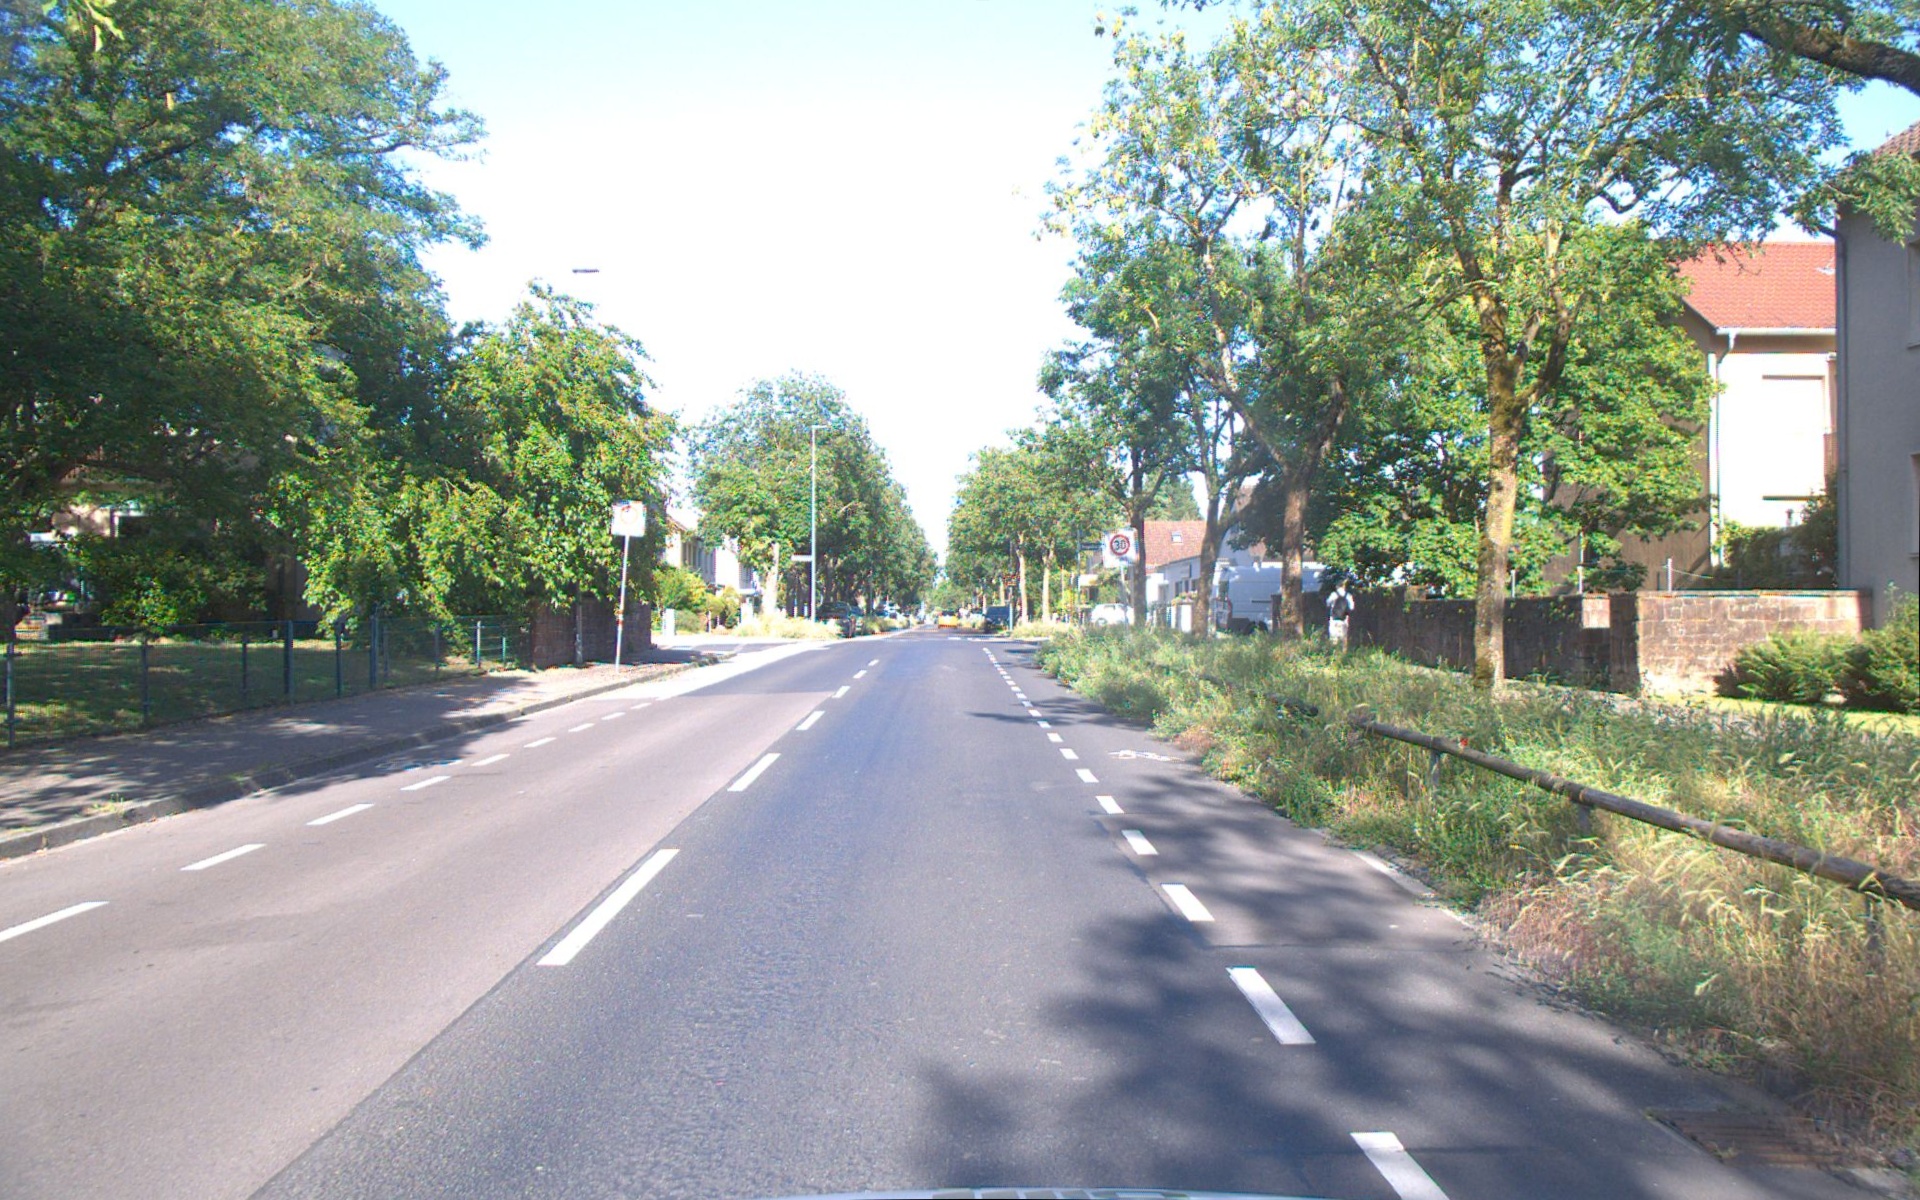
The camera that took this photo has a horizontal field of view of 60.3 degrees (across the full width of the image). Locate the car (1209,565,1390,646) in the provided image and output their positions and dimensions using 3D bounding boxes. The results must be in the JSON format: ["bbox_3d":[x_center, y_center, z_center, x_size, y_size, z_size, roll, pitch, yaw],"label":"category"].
[{"bbox_3d":[11.209,0.173,54.862,5.483,2.583,2.264,0,0,-4],"label":"car"}]

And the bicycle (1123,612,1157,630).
[{"bbox_3d":[10.396,1.213,95.589,1.885,1.016,0.576,-2,1,-2],"label":"bicycle"}]

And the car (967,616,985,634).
[{"bbox_3d":[1.706,2.701,178.868,1.864,1.805,4.300,1,-1,0],"label":"car"}]

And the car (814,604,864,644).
[{"bbox_3d":[-5.682,1.175,78.333,1.913,1.757,4.874,1,-2,0],"label":"car"}]

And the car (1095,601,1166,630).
[{"bbox_3d":[10.017,0.923,97.569,3.907,1.515,1.901,-2,1,-2],"label":"car"}]

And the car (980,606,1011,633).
[{"bbox_3d":[2.256,1.261,105.484,1.815,1.654,4.468,-2,-1,-1],"label":"car"}]

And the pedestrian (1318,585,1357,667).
[{"bbox_3d":[8.184,0.548,35.876,0.624,1.735,0.612,-3,1,-2],"label":"pedestrian"}]

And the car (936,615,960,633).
[{"bbox_3d":[-1.054,2.055,142.325,1.850,1.505,3.885,2,-1,-3],"label":"car"}]

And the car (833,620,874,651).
[{"bbox_3d":[-5.767,1.946,90.267,1.899,1.637,4.383,1,-2,0],"label":"car"}]

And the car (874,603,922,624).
[{"bbox_3d":[-7.069,1.515,187.837,5.388,2.287,2.516,1,1,-2],"label":"car"}]
